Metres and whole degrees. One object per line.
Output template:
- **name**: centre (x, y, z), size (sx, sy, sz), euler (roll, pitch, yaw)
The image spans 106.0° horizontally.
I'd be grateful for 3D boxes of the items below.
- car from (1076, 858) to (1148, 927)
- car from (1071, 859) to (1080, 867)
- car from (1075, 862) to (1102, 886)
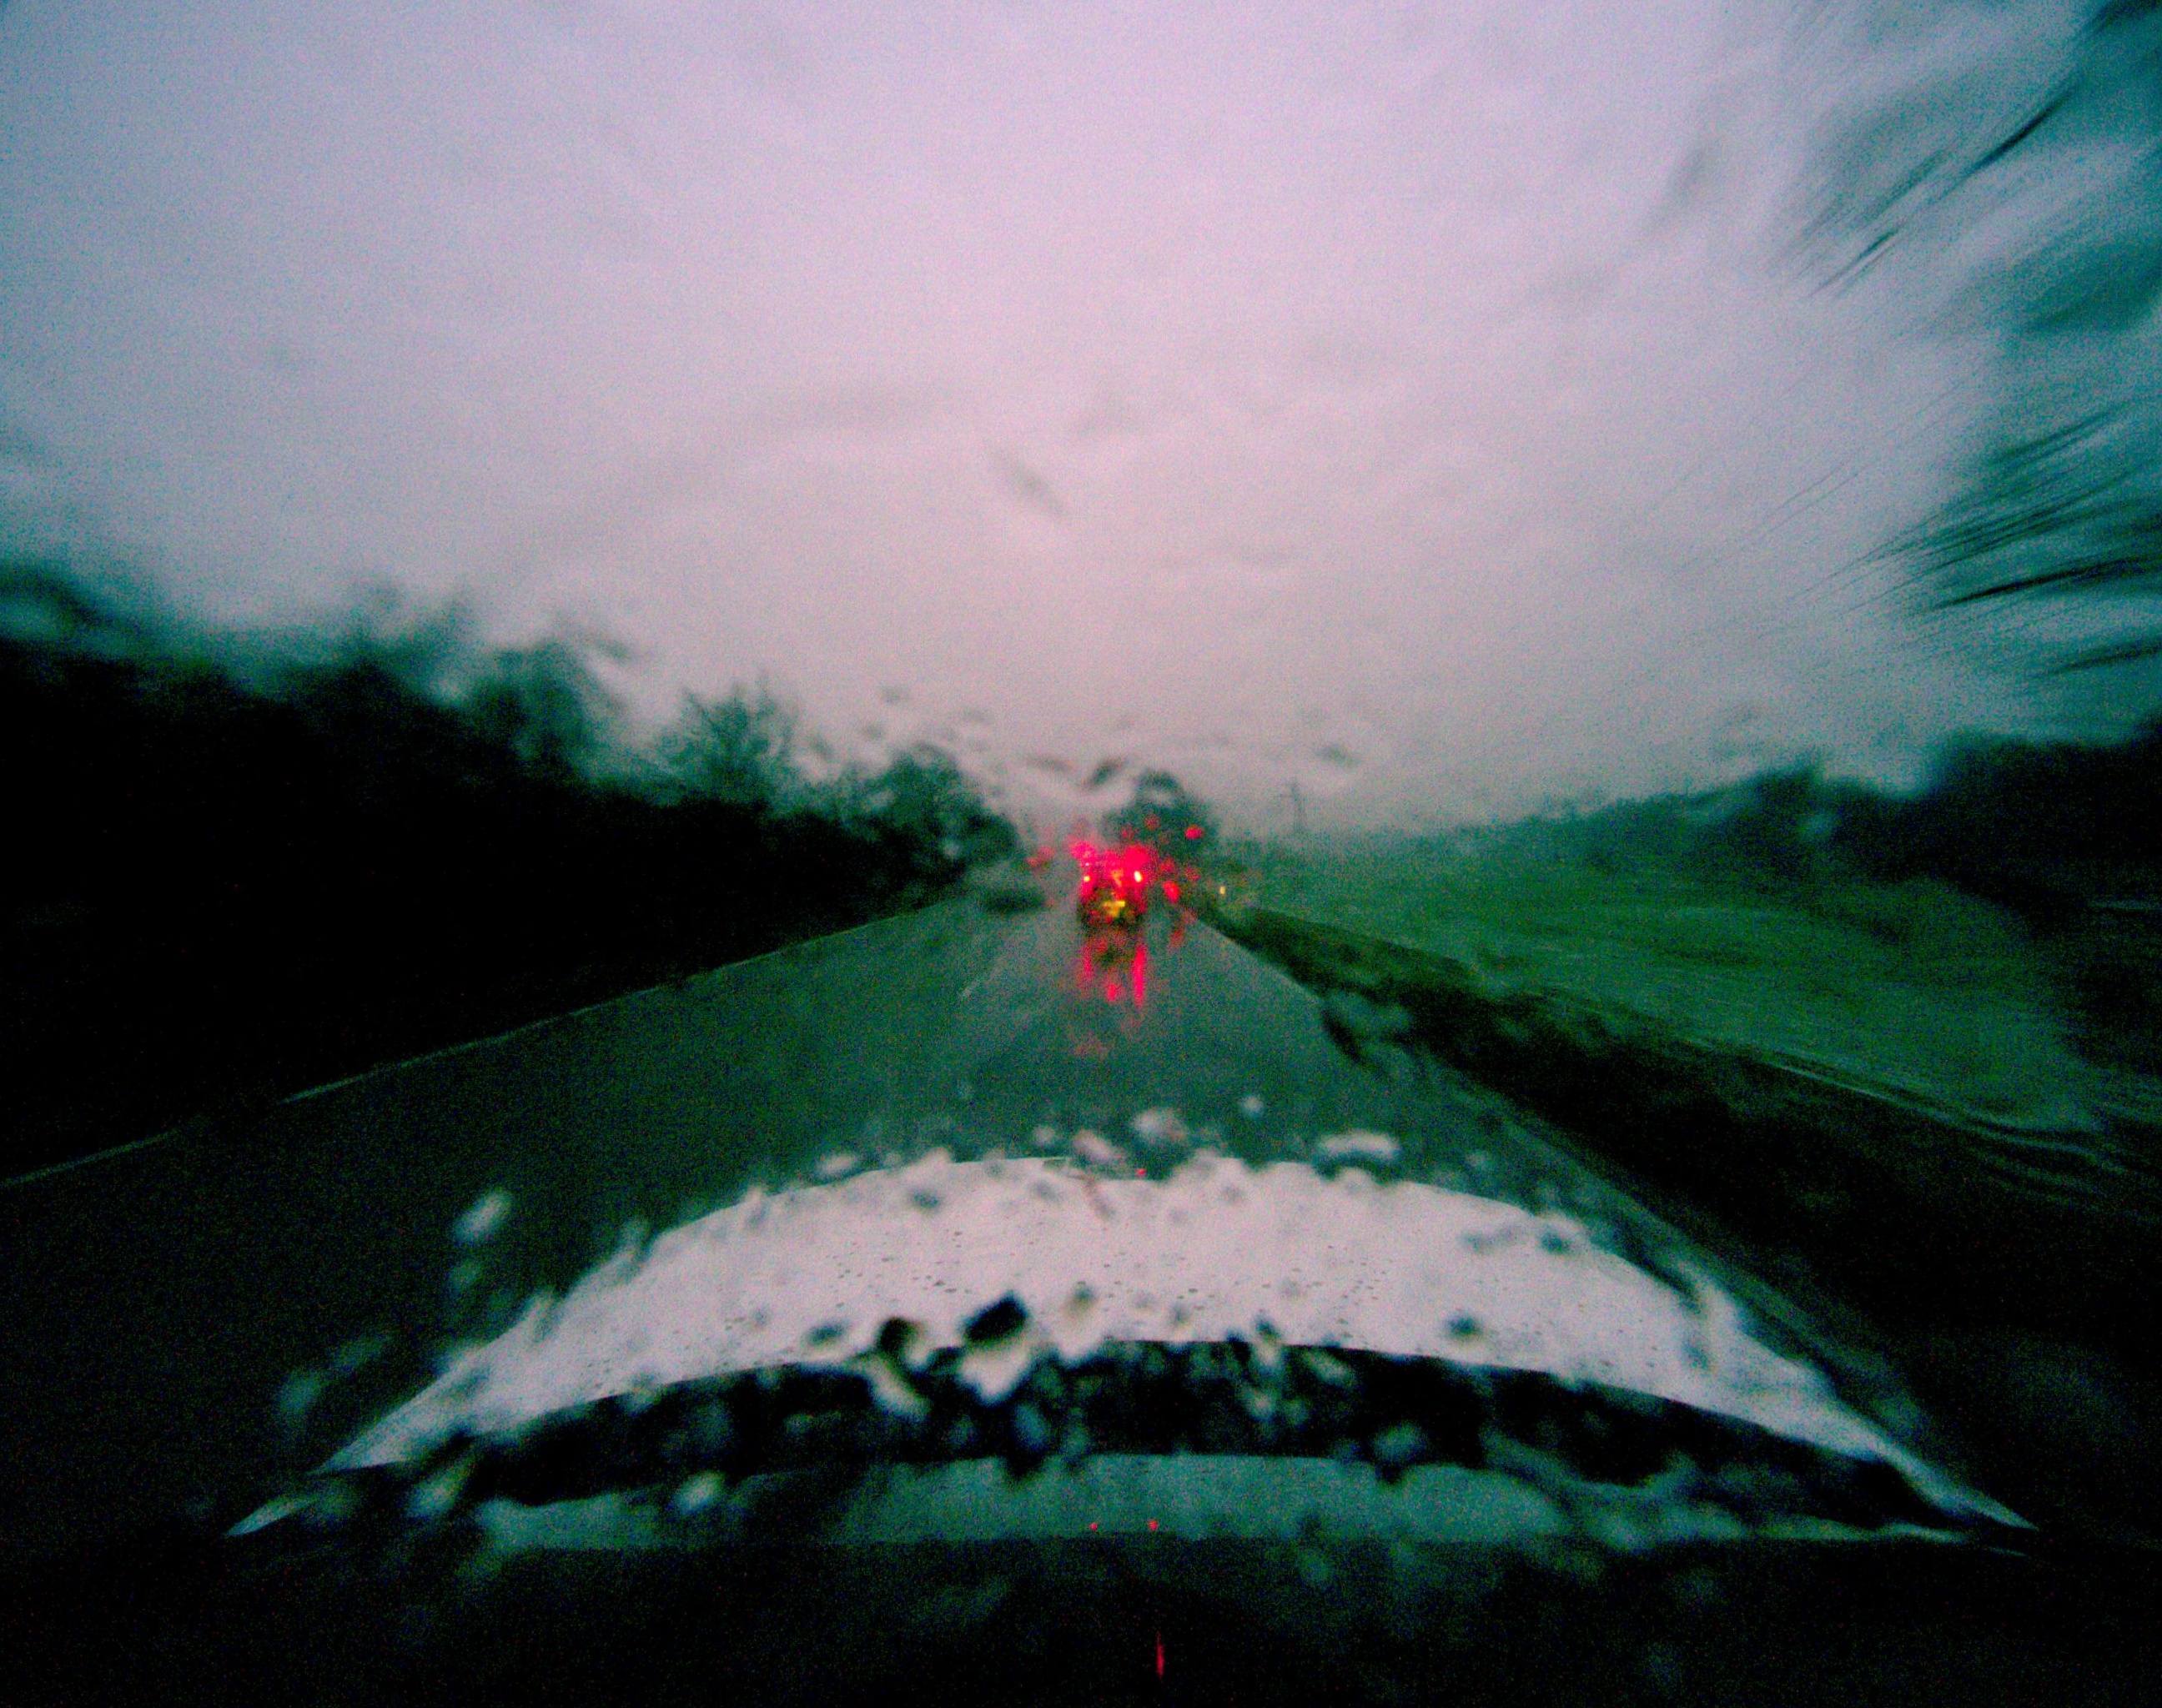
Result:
- **car**: centre (0.774, 0.874, 20.147), size (1.596, 1.522, 3.871), euler (0, -1, 2)
- **car**: centre (-0.978, 1.543, 143.464), size (1.542, 1.397, 3.869), euler (0, 0, 0)
- **car**: centre (0.432, 1.165, 49.265), size (1.542, 1.397, 3.868), euler (0, 0, 0)
